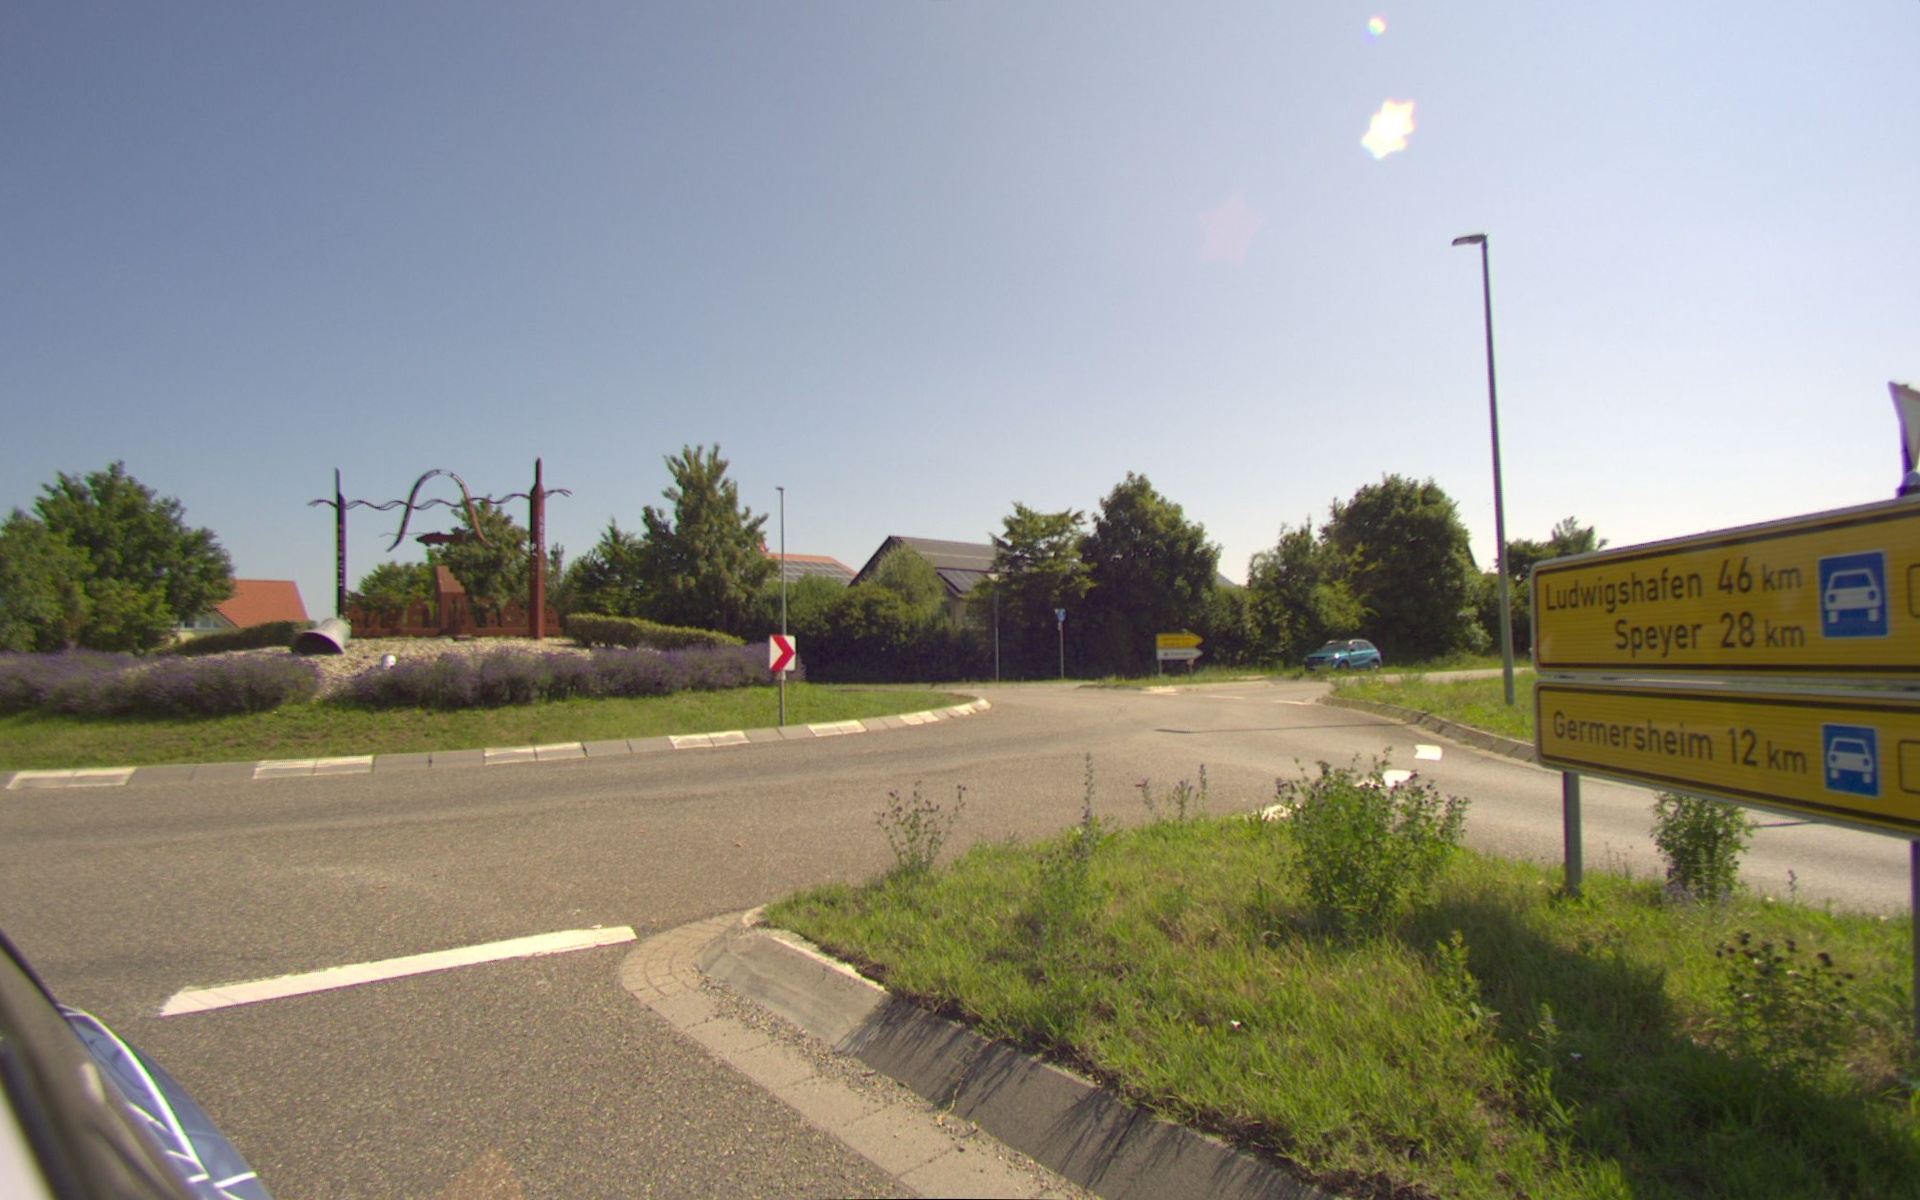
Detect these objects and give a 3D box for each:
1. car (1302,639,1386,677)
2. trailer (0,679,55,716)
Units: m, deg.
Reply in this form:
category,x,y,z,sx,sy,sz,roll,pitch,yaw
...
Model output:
category,x,y,z,sx,sy,sz,roll,pitch,yaw
car,17.197,2.573,45.270,3.935,1.588,1.652,1,-3,-38
trailer,-65.772,6.536,68.030,10.394,2.295,1.990,-2,-3,15
